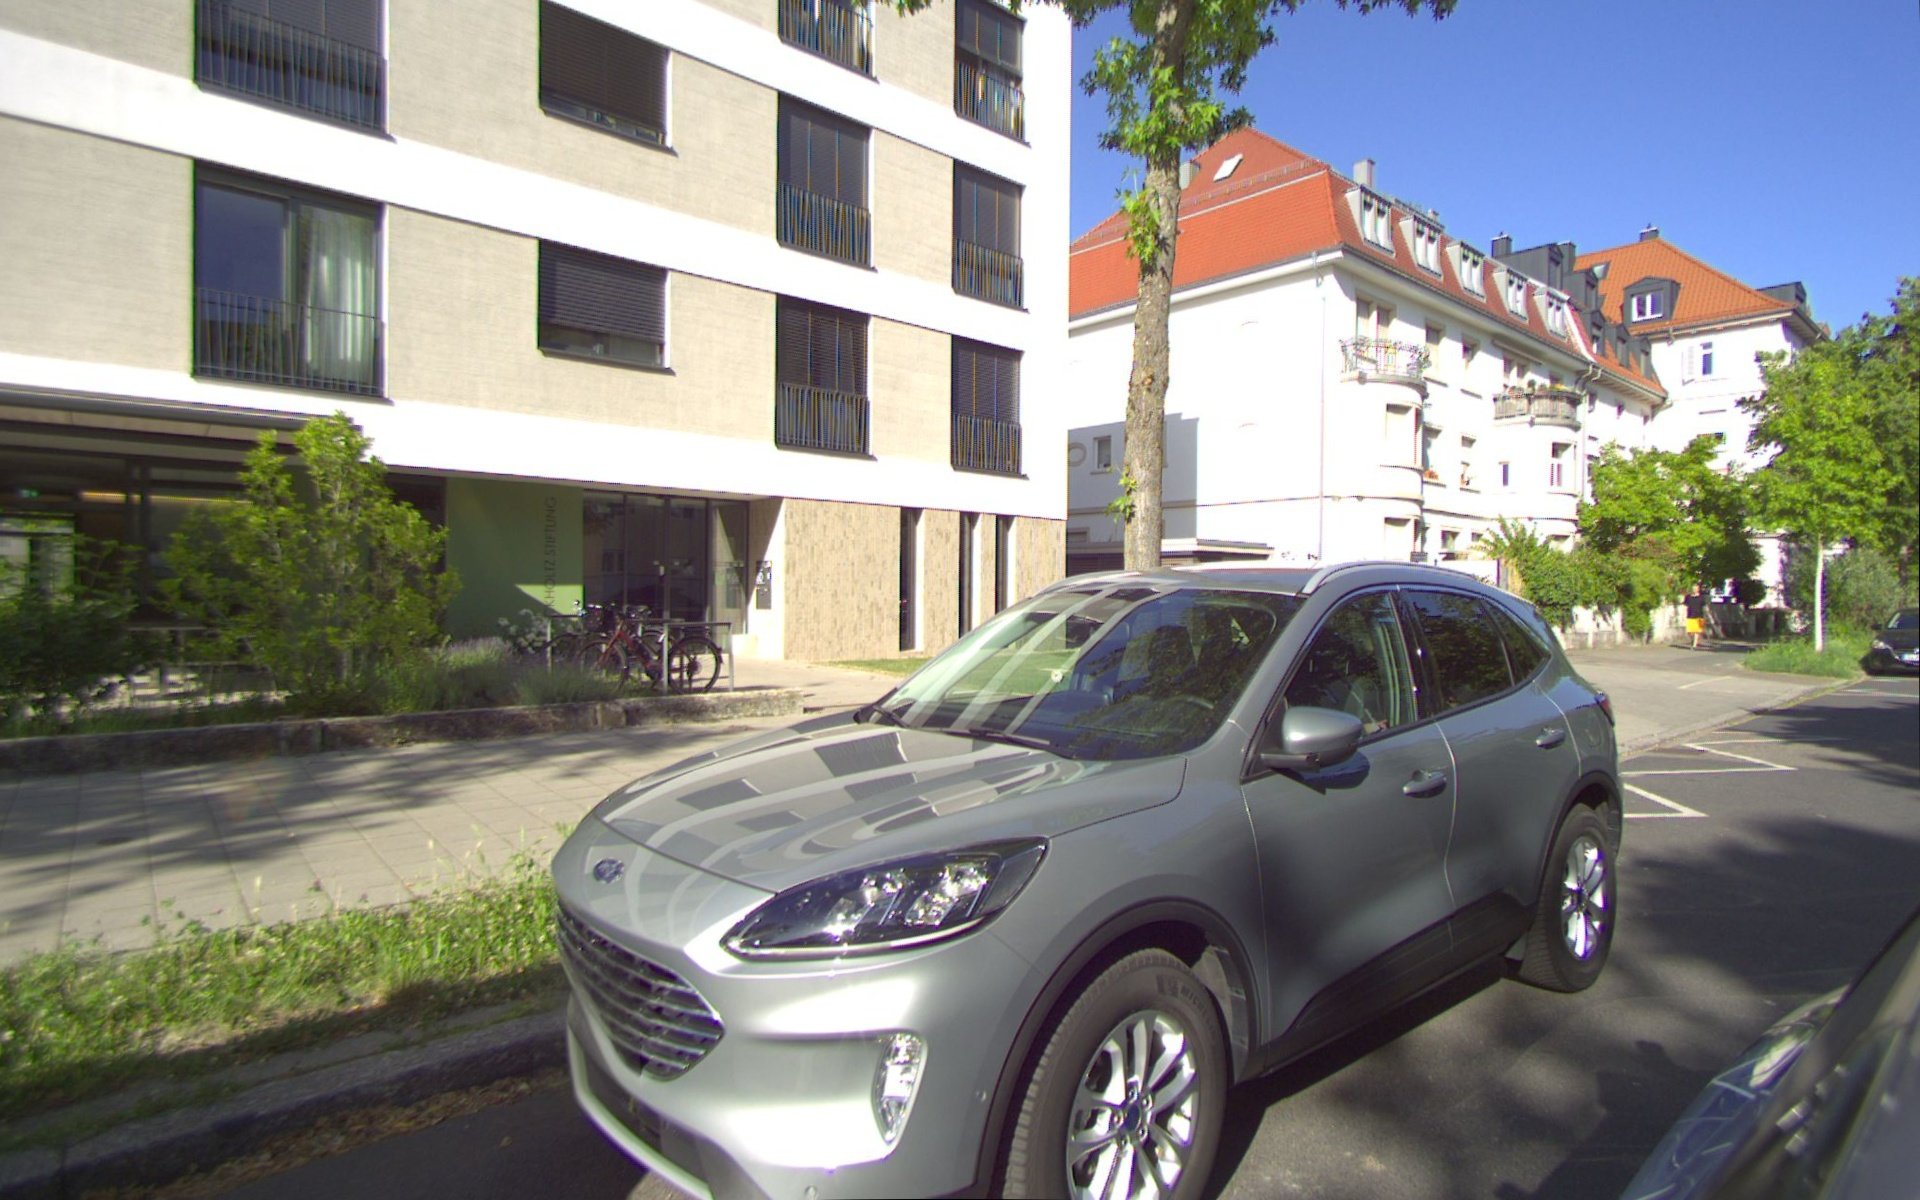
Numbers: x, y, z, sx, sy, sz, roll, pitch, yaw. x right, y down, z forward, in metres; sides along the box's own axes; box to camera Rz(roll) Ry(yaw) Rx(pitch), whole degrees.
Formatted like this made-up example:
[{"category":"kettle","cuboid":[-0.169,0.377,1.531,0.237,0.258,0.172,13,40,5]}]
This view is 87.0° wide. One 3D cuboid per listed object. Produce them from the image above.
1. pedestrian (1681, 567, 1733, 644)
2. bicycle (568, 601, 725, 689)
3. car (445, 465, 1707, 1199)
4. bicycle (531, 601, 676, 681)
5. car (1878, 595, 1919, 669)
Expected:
[{"category":"pedestrian","cuboid":[20.374,0.134,27.587,0.988,2.039,0.907,0,1,-40]},{"category":"bicycle","cuboid":[-3.460,0.473,11.254,1.581,0.906,0.564,0,0,-41]},{"category":"car","cuboid":[0.908,0.623,3.780,4.774,1.668,1.901,0,0,-39]},{"category":"bicycle","cuboid":[-4.345,0.470,12.381,1.581,0.906,0.564,0,0,-41]},{"category":"car","cuboid":[20.828,0.653,21.359,3.473,1.483,1.670,0,1,-40]}]
